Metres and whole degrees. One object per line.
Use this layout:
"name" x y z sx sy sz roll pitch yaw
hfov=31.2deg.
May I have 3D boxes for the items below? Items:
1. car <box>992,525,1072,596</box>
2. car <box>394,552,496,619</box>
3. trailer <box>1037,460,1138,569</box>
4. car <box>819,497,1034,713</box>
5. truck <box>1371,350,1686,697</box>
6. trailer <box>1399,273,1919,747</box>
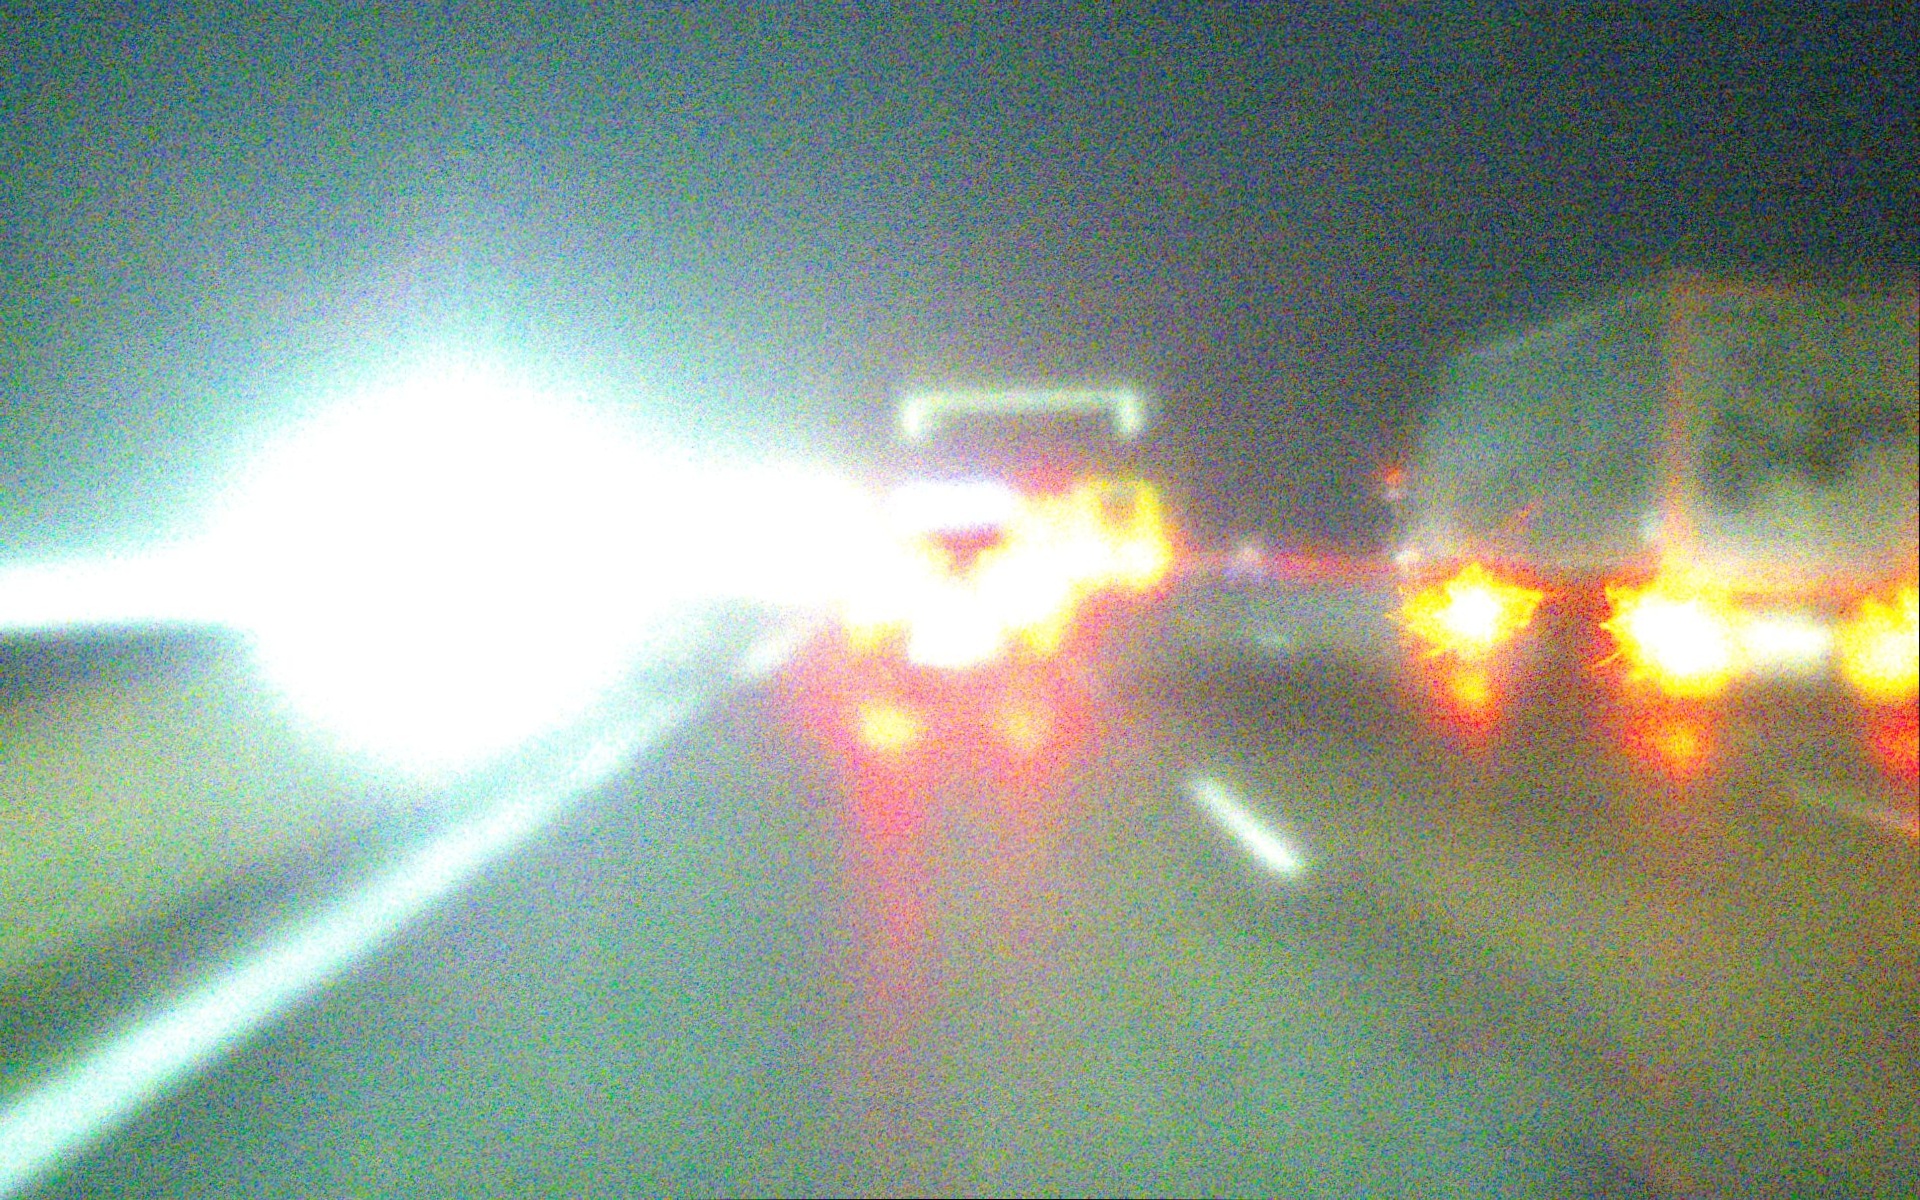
"car" 2.154 -1.180 103.479 1.993 2.007 4.000 -2 0 -4
"car" -14.125 -0.426 94.551 1.993 1.733 5.236 2 1 0
"trailer" 5.165 -3.411 141.839 3.041 4.094 13.829 -2 0 -2
"car" -0.352 0.044 34.088 1.993 2.007 4.000 0 0 -1
"truck" 7.202 -0.962 44.376 2.903 4.094 6.031 -2 1 -1
"trailer" 7.299 -0.906 37.480 2.903 4.094 14.488 -2 1 -1
